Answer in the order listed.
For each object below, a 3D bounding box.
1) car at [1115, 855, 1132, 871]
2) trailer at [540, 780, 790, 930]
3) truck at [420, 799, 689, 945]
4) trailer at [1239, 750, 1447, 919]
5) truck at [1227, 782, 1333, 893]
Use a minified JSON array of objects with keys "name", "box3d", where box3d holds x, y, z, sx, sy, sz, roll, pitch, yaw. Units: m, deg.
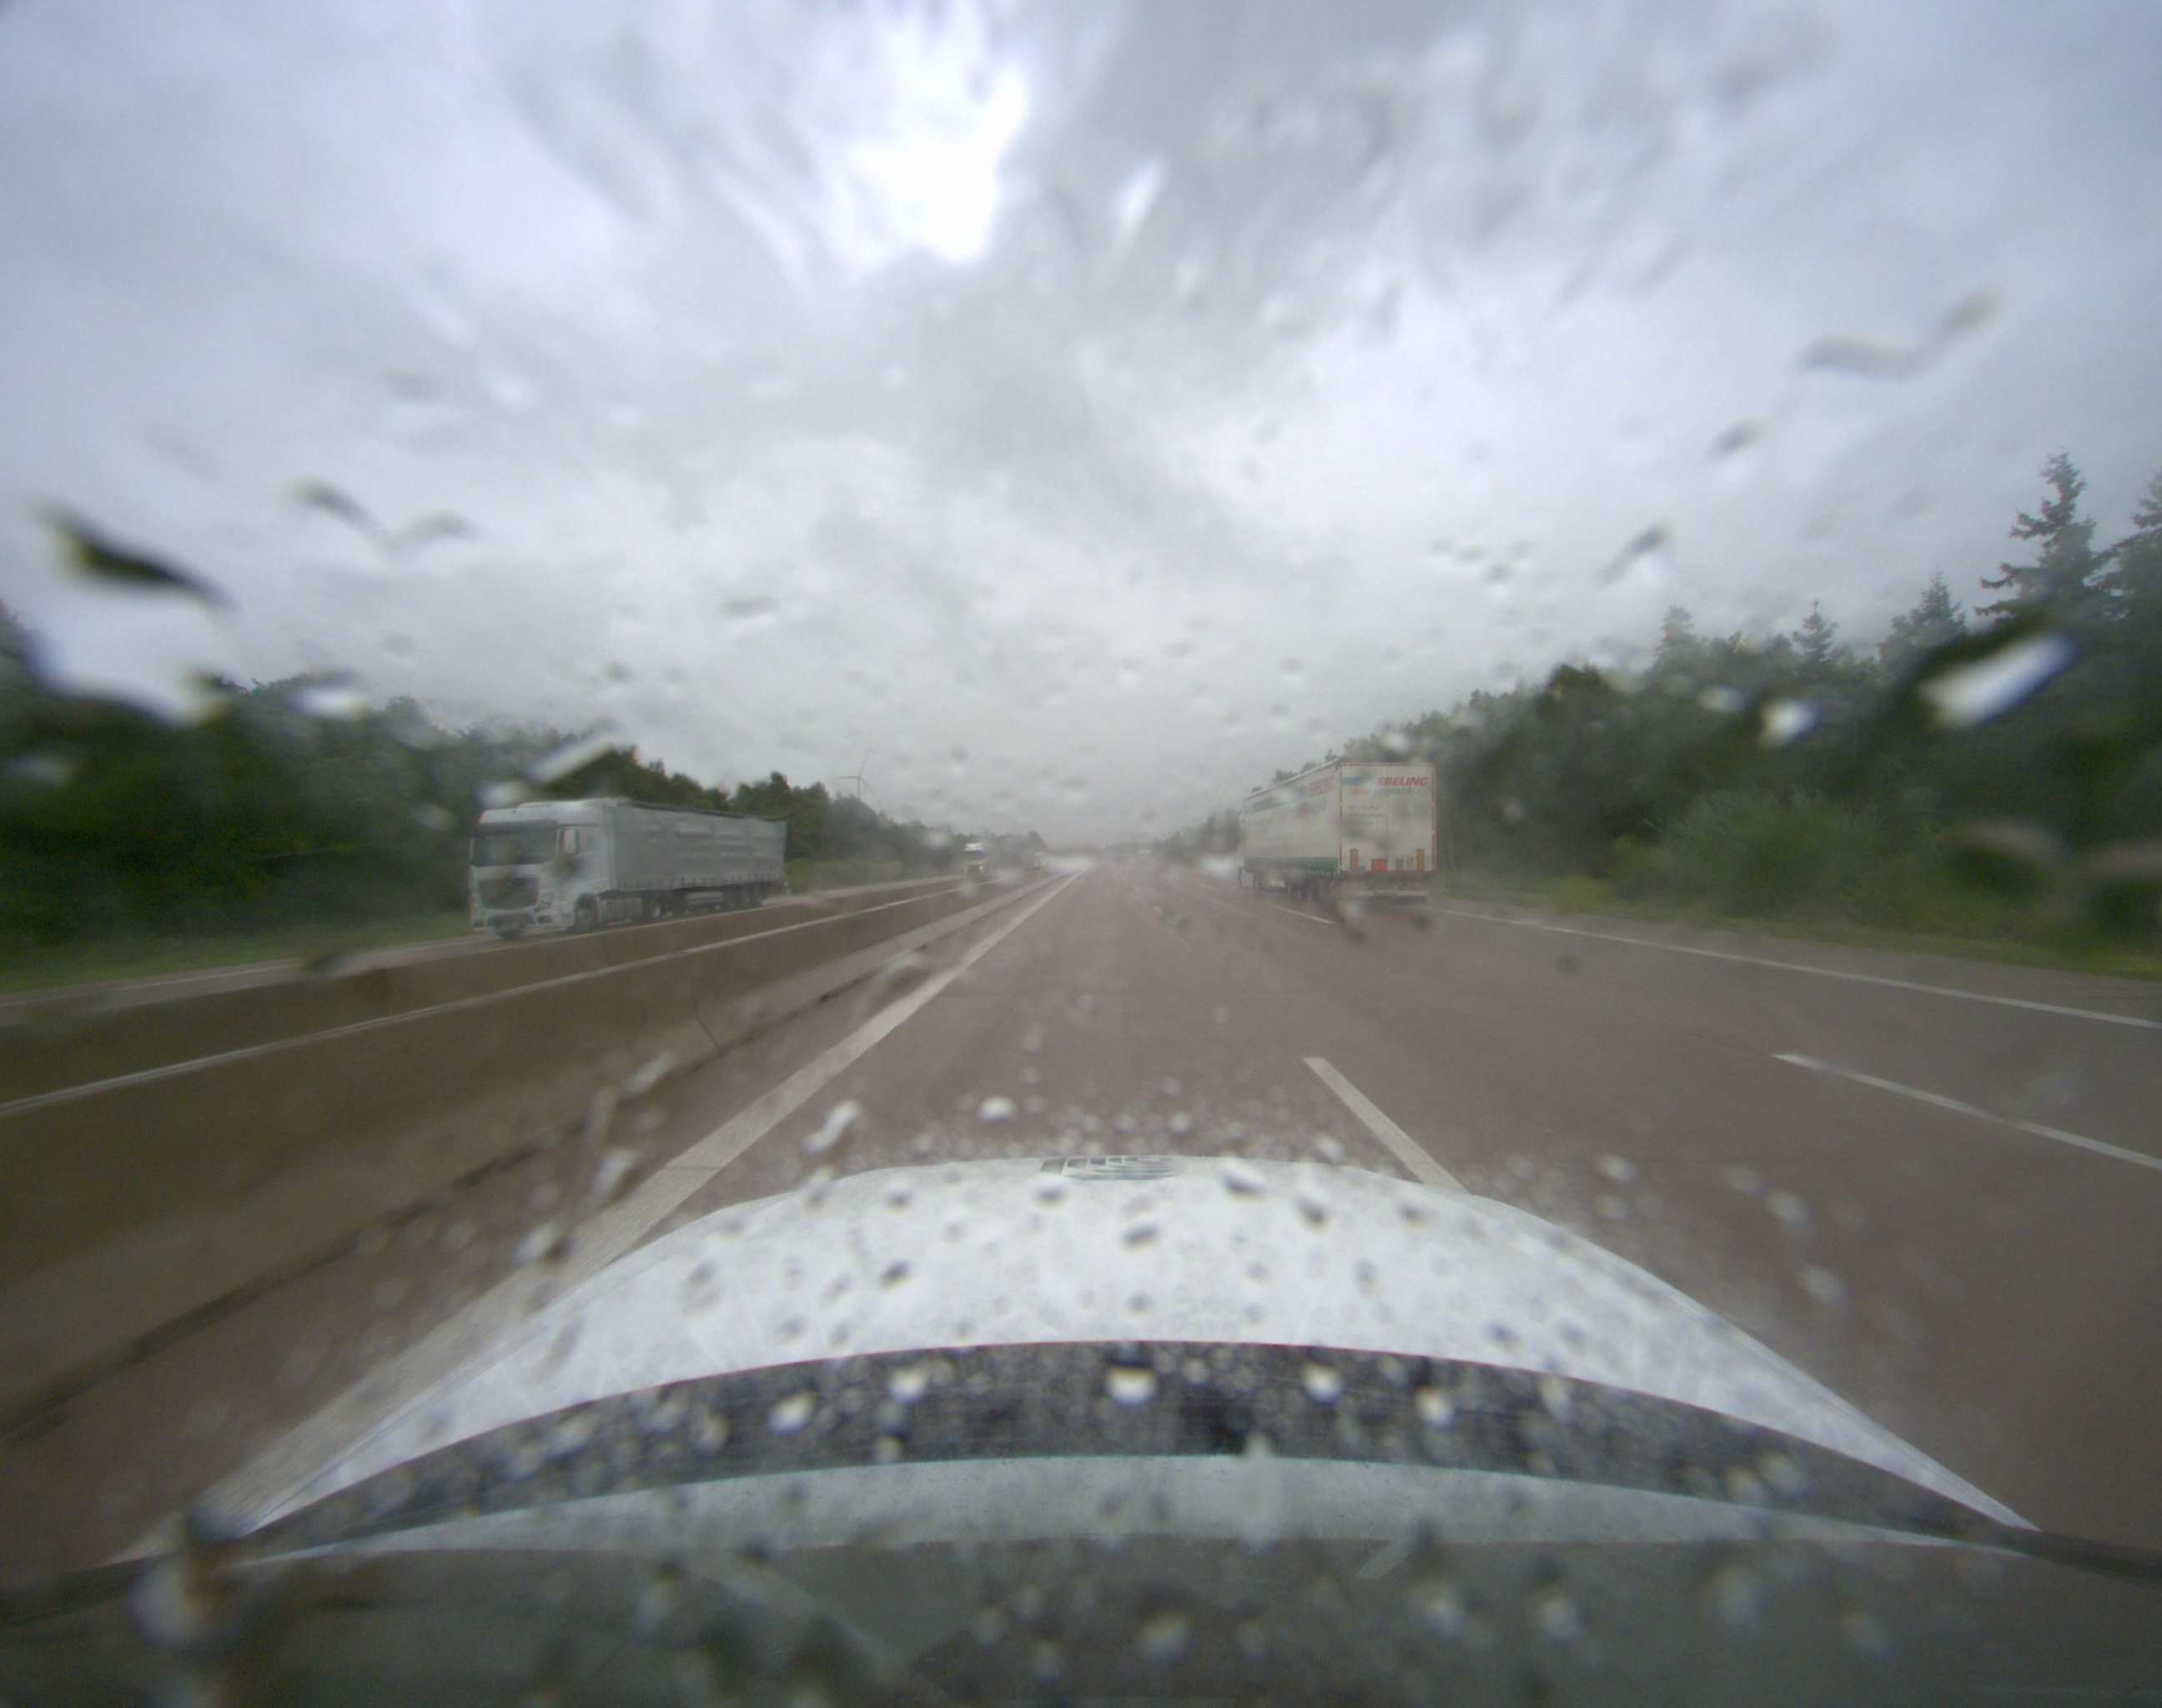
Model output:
[{"name":"car","box3d":[5.896,1.246,113.578,2.165,1.981,4.132,-3,0,2]},{"name":"trailer","box3d":[-15.755,0.083,32.709,3.418,4.867,12.447,0,-1,1]},{"name":"truck","box3d":[-15.914,0.523,25.561,3.460,3.889,7.464,0,-1,1]},{"name":"trailer","box3d":[8.037,-0.536,27.576,2.842,4.231,13.134,-3,0,1]},{"name":"truck","box3d":[8.148,-0.635,34.203,2.870,4.106,6.351,-3,0,1]}]
